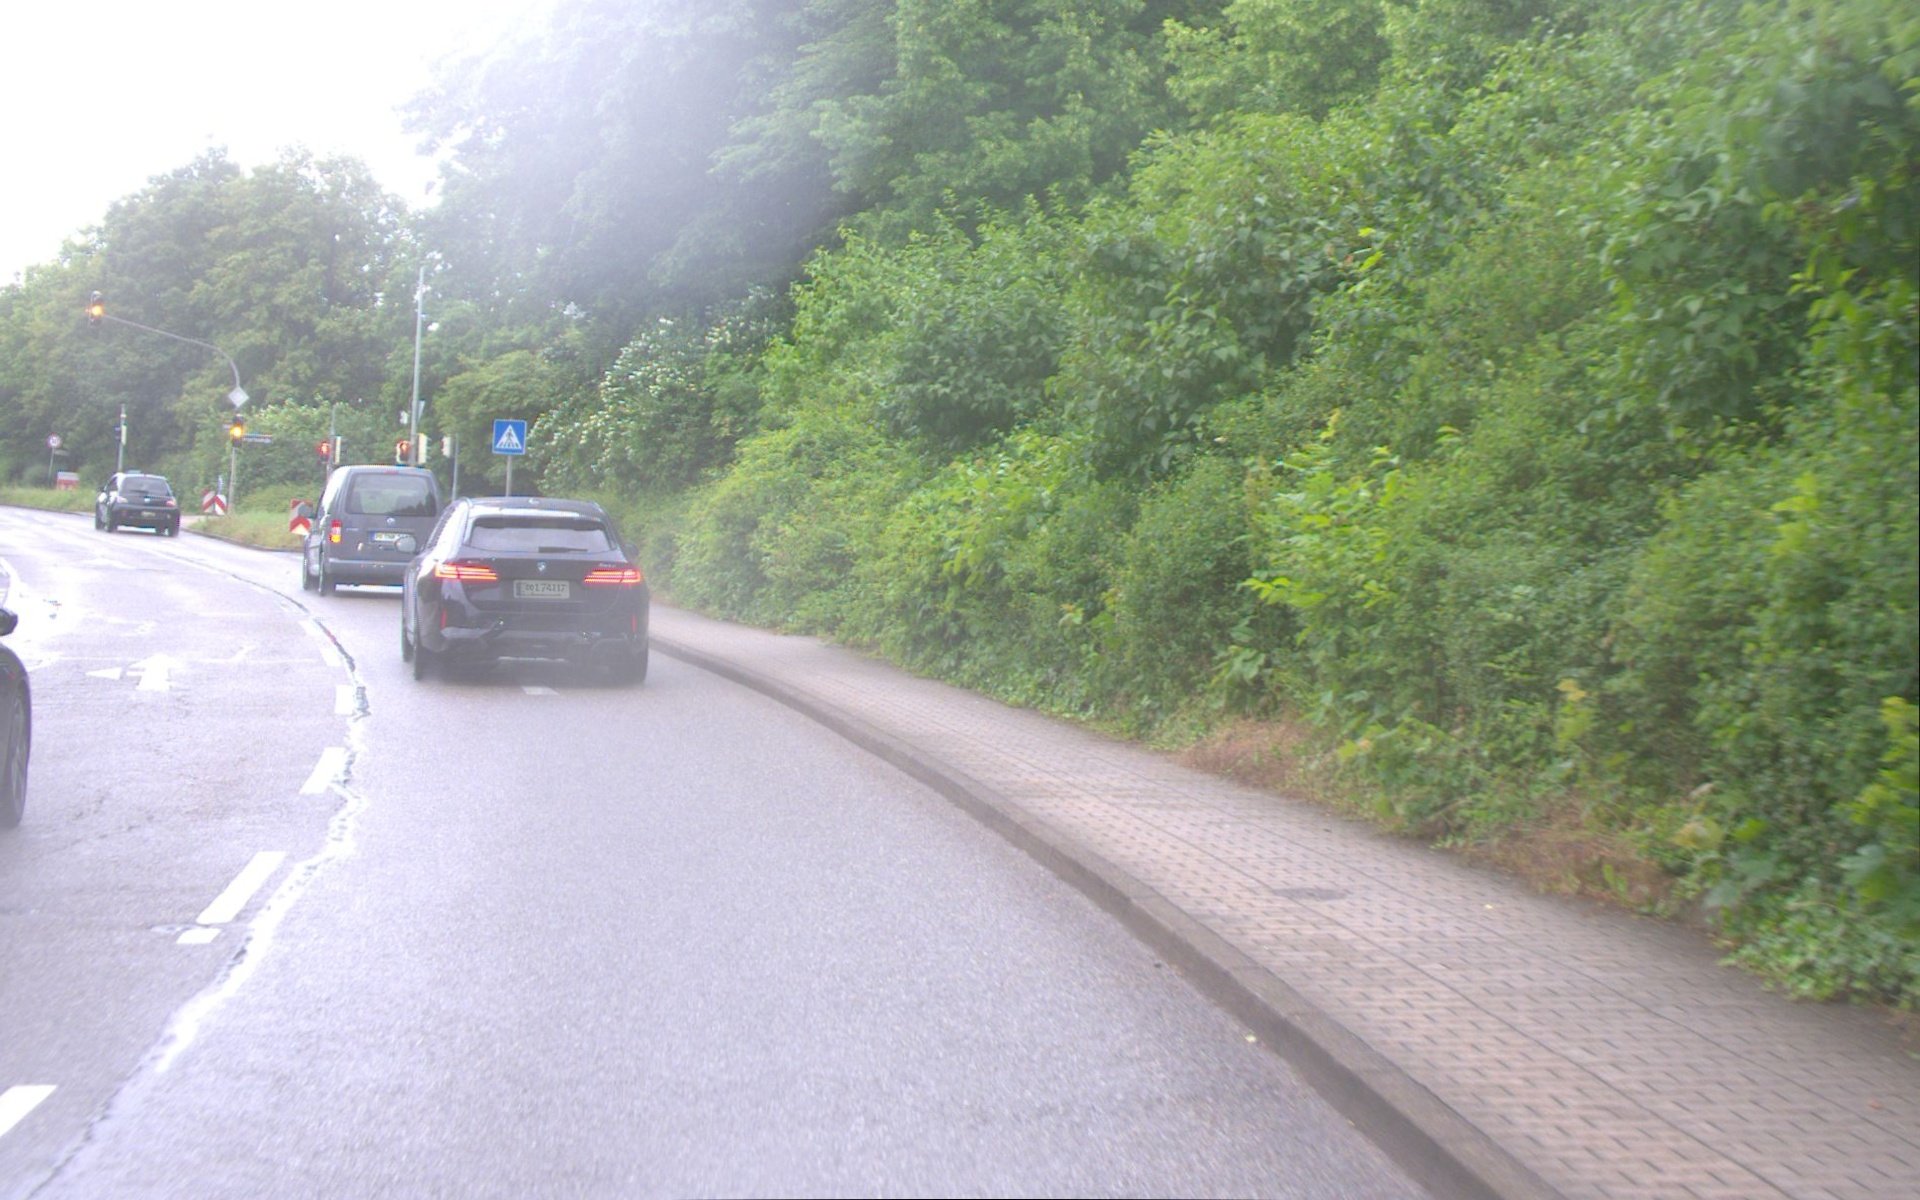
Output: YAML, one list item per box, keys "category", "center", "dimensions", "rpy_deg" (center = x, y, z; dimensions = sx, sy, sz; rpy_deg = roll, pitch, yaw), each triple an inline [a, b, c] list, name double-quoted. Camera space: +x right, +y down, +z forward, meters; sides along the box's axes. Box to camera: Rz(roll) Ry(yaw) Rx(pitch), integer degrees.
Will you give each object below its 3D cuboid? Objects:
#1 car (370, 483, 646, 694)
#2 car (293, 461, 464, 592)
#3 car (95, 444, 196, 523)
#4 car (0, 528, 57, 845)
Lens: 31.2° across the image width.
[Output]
- category: "car"
  center: [-3.914, -0.159, 29.124]
  dimensions: [1.993, 1.580, 4.665]
  rpy_deg: [2, 2, -11]
- category: "car"
  center: [-8.257, -1.039, 48.565]
  dimensions: [1.993, 1.742, 4.001]
  rpy_deg: [1, 1, -15]
- category: "car"
  center: [-19.964, -2.820, 84.199]
  dimensions: [1.850, 1.656, 4.001]
  rpy_deg: [3, -2, -21]
- category: "car"
  center: [-5.148, 0.423, 14.438]
  dimensions: [1.905, 1.393, 4.858]
  rpy_deg: [1, 2, -6]
